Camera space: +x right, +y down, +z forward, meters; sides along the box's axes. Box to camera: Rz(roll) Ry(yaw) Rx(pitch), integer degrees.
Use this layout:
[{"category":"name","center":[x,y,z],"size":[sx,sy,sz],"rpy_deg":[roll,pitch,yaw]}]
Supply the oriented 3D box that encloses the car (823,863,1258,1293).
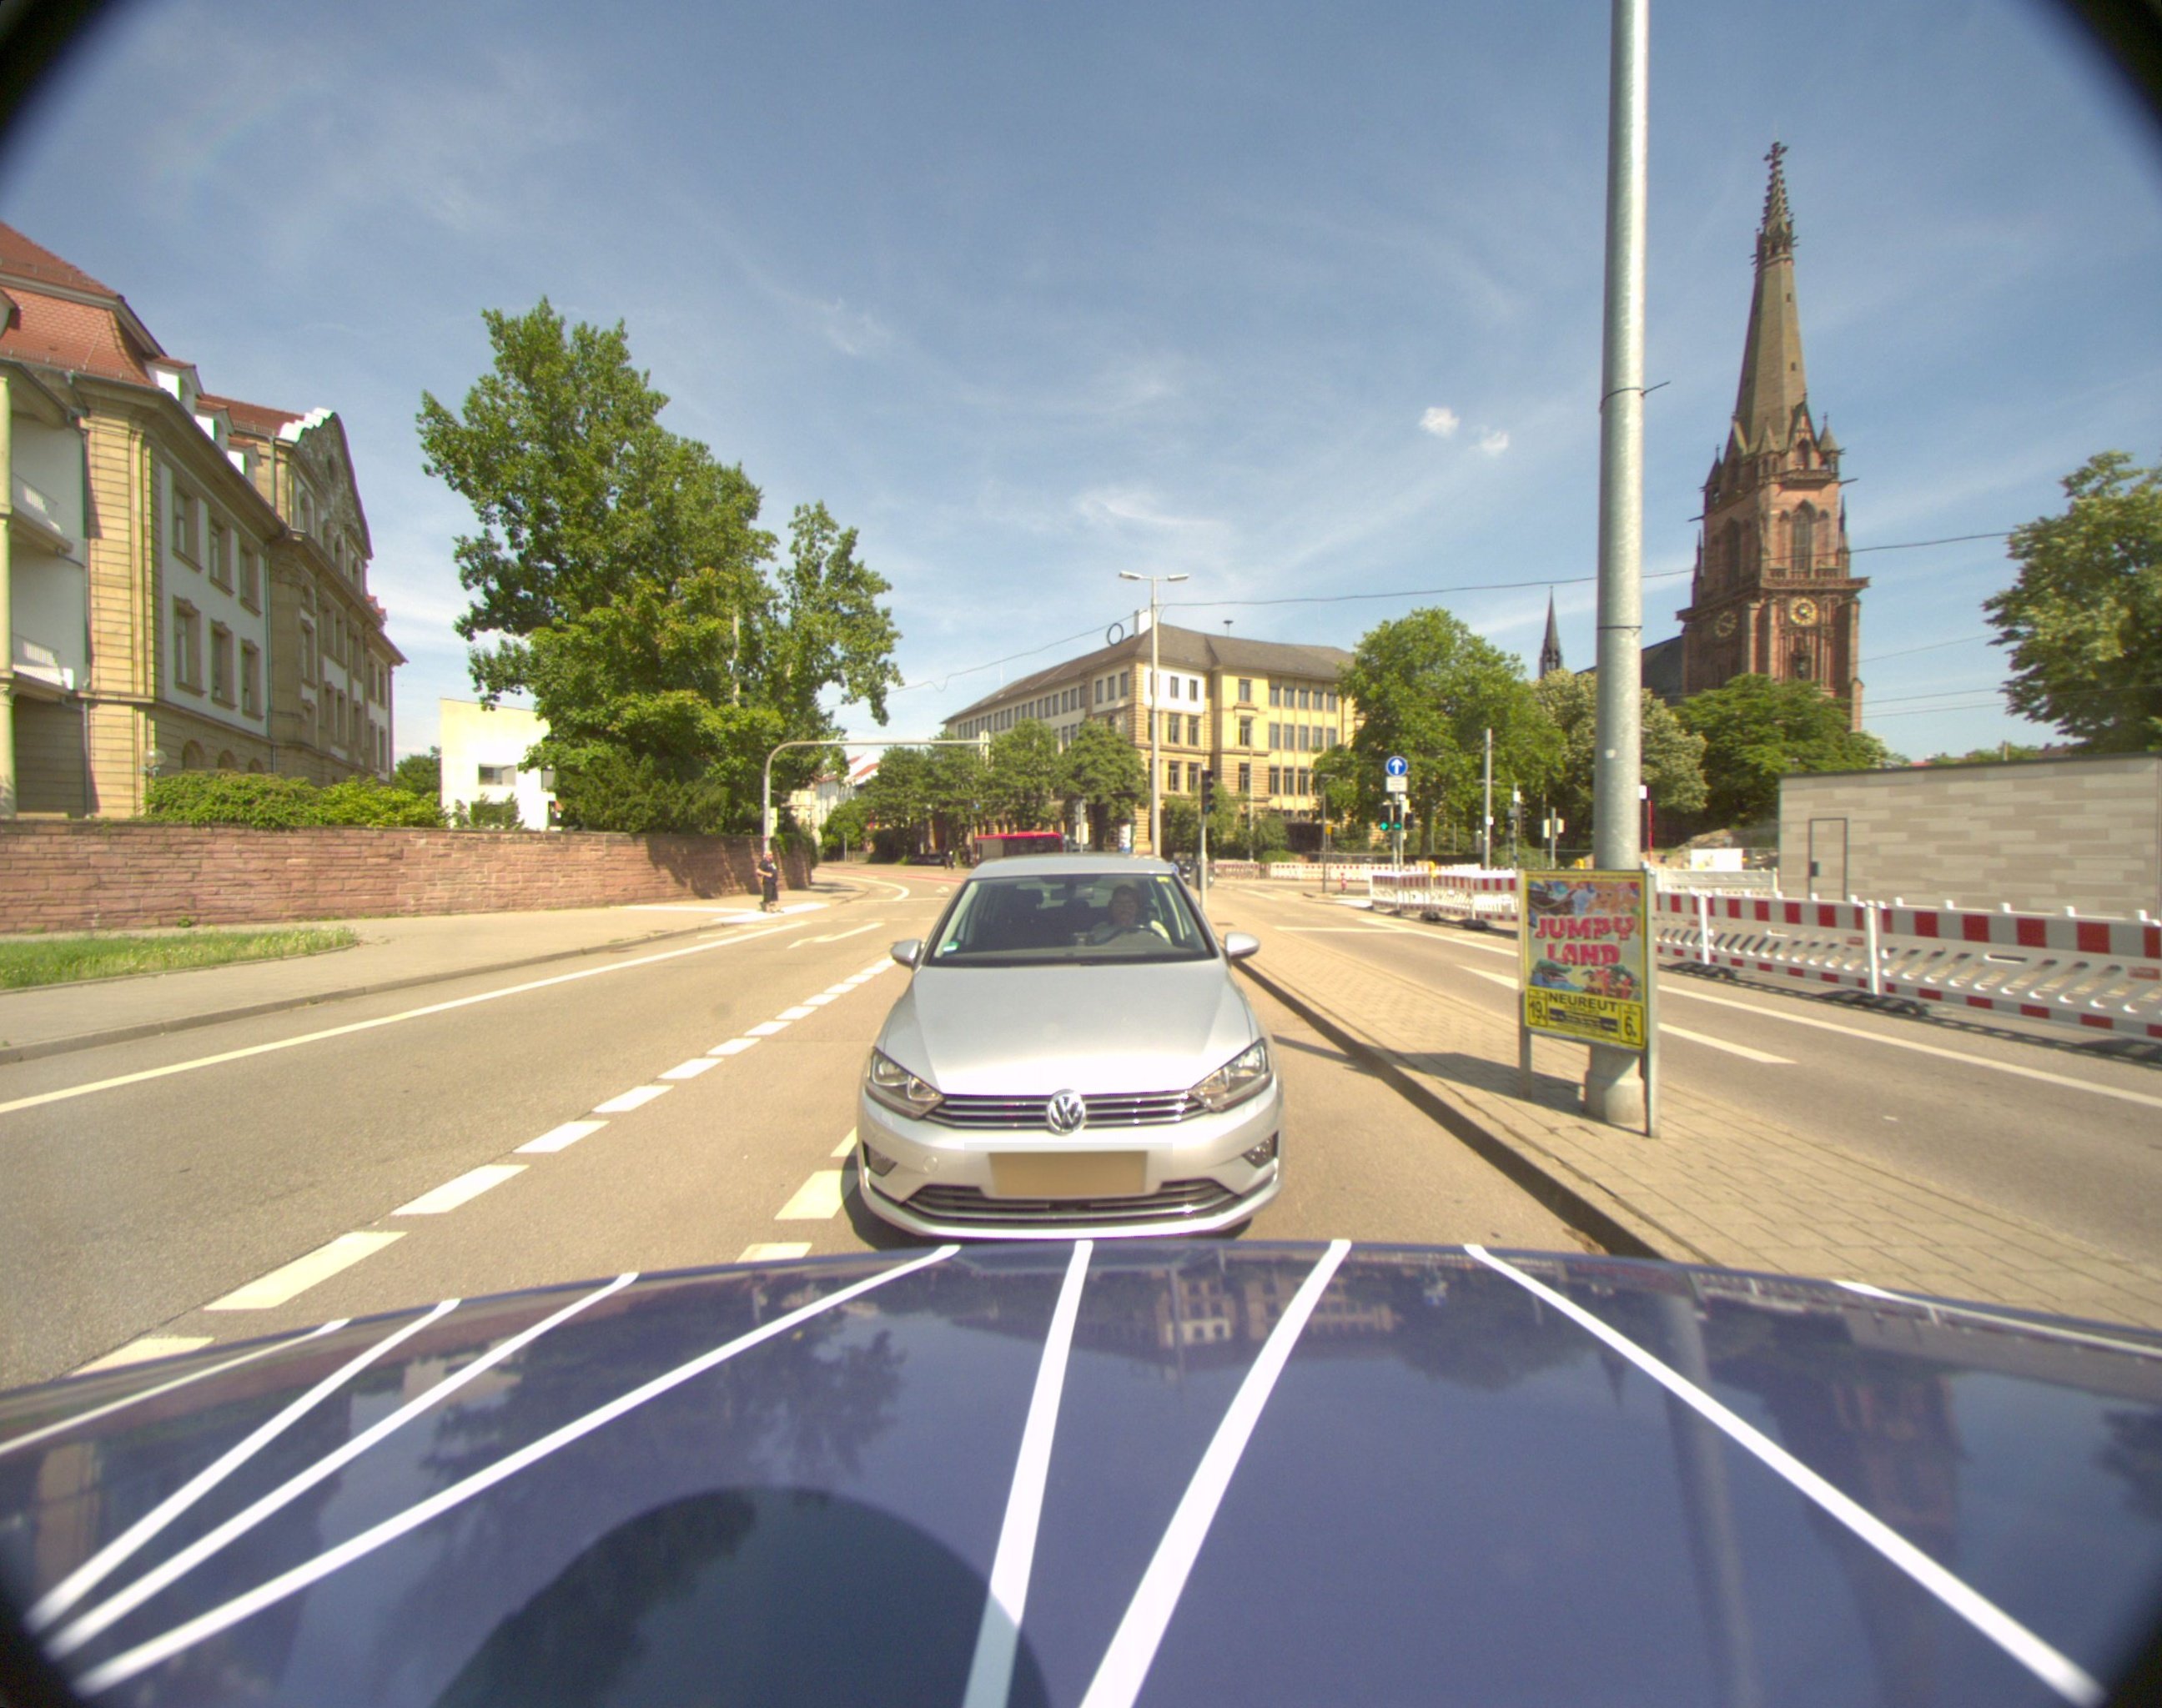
[{"category":"car","center":[-0.066,0.888,5.028],"size":[1.687,1.577,4.152],"rpy_deg":[0,0,3]}]

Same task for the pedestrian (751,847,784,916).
[{"category":"pedestrian","center":[-9.255,0.785,22.433],"size":[0.796,2.002,0.615],"rpy_deg":[0,1,-14]}]

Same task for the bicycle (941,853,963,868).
[{"category":"bicycle","center":[-12.729,0.666,74.676],"size":[0.832,1.394,3.461],"rpy_deg":[-3,1,-32]}]

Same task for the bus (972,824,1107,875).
[{"category":"bus","center":[-3.255,-0.243,52.748],"size":[3.138,3.076,12.381],"rpy_deg":[-3,1,-36]}]

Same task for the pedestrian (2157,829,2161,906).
[{"category":"pedestrian","center":[28.615,0.351,19.538],"size":[0.820,2.002,0.686],"rpy_deg":[1,1,3]}]

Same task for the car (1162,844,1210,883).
[{"category":"car","center":[5.630,0.481,41.203],"size":[1.999,2.002,3.999],"rpy_deg":[0,0,-1]}]

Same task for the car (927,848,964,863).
[{"category":"car","center":[-16.761,0.209,93.883],"size":[4.006,1.653,1.994],"rpy_deg":[-3,4,-35]}]

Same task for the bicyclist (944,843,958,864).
[{"category":"bicyclist","center":[-12.846,-0.072,74.898],"size":[0.860,2.002,1.233],"rpy_deg":[-3,1,-32]}]
